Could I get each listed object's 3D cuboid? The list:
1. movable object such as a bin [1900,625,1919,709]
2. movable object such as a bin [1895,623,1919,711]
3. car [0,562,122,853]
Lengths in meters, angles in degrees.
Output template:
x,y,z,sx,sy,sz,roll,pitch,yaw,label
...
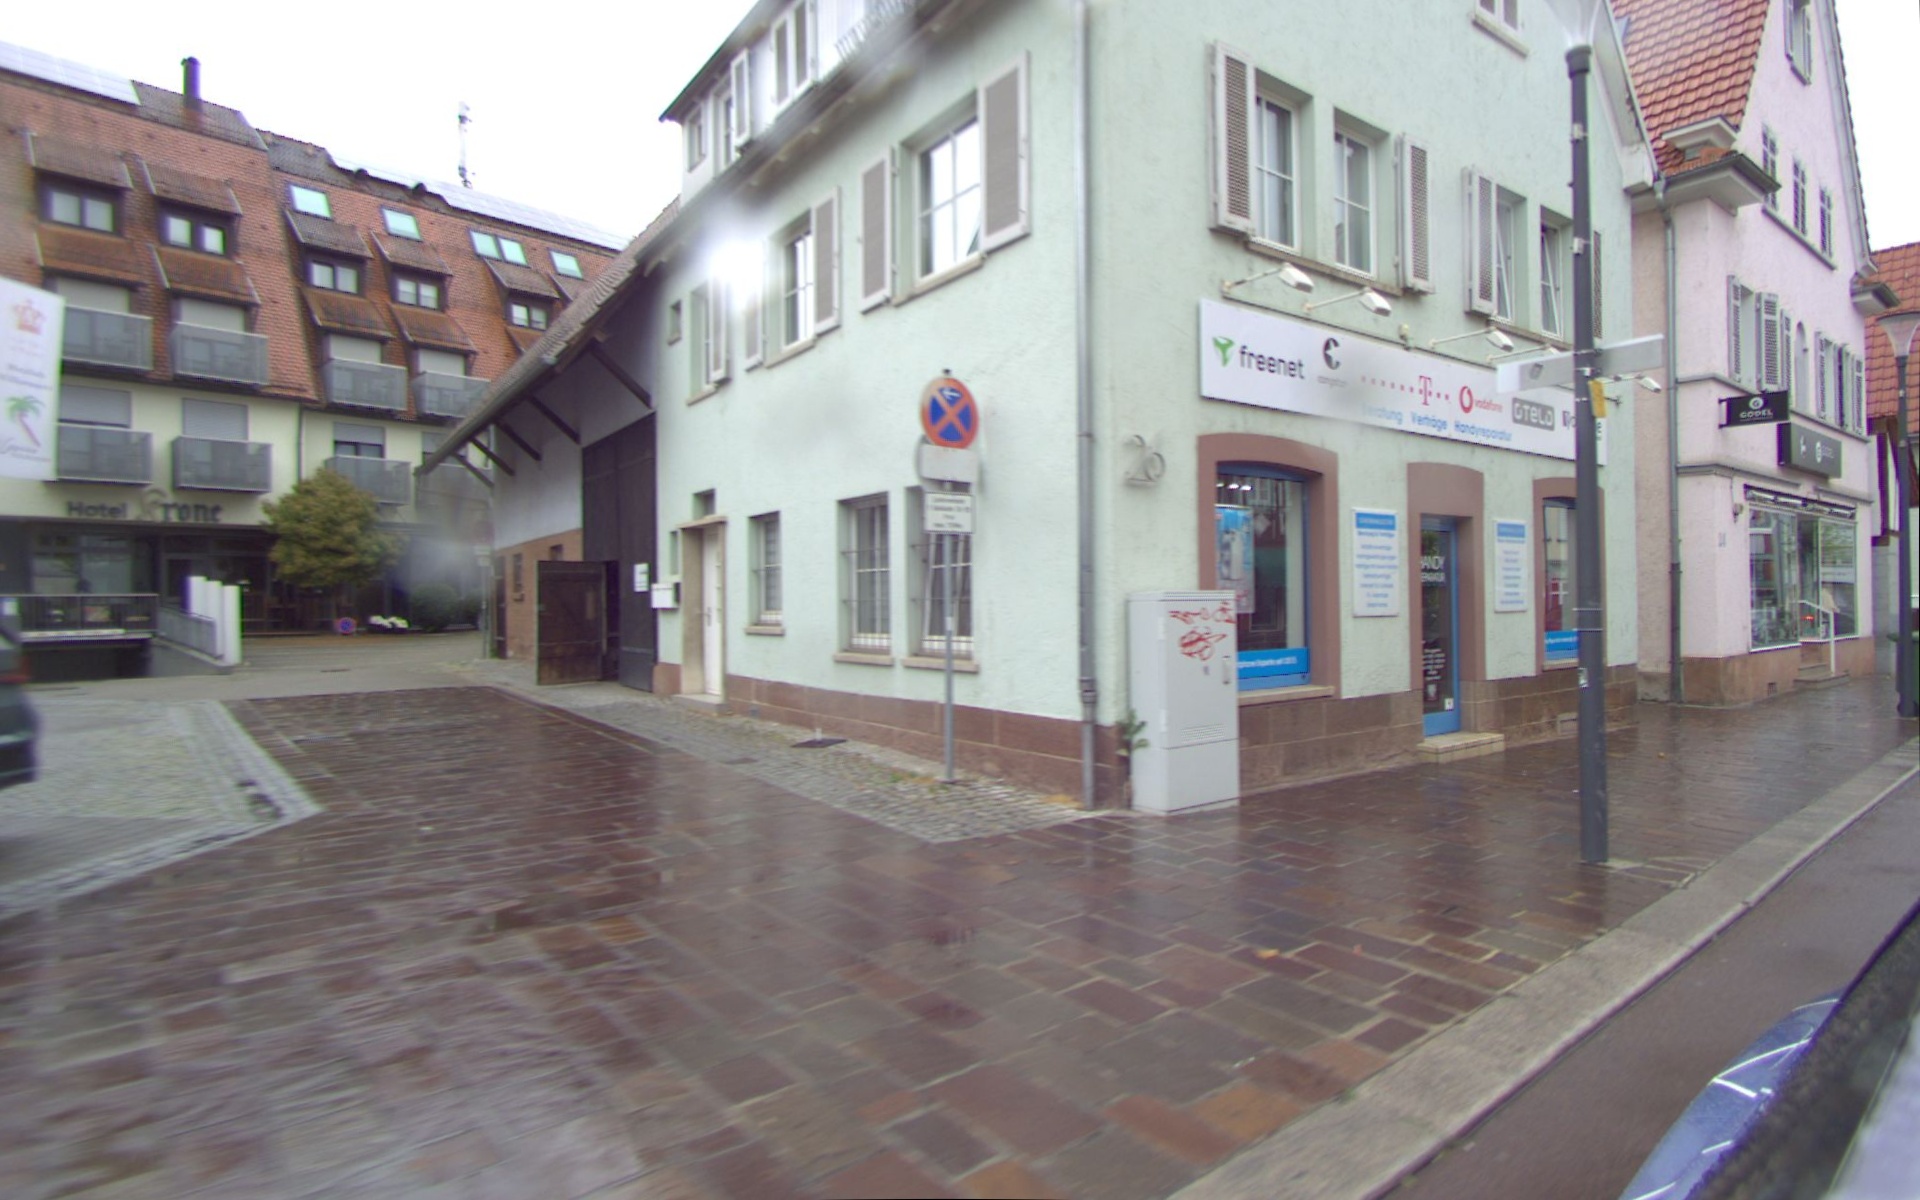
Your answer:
x,y,z,sx,sy,sz,roll,pitch,yaw,label
13.054,0.888,13.422,0.604,1.094,0.793,-1,0,-42,movable object such as a bin
12.605,0.861,13.016,0.573,1.094,0.797,-1,0,-42,movable object such as a bin
-7.473,0.586,5.436,4.305,1.620,1.889,0,-1,-2,car
